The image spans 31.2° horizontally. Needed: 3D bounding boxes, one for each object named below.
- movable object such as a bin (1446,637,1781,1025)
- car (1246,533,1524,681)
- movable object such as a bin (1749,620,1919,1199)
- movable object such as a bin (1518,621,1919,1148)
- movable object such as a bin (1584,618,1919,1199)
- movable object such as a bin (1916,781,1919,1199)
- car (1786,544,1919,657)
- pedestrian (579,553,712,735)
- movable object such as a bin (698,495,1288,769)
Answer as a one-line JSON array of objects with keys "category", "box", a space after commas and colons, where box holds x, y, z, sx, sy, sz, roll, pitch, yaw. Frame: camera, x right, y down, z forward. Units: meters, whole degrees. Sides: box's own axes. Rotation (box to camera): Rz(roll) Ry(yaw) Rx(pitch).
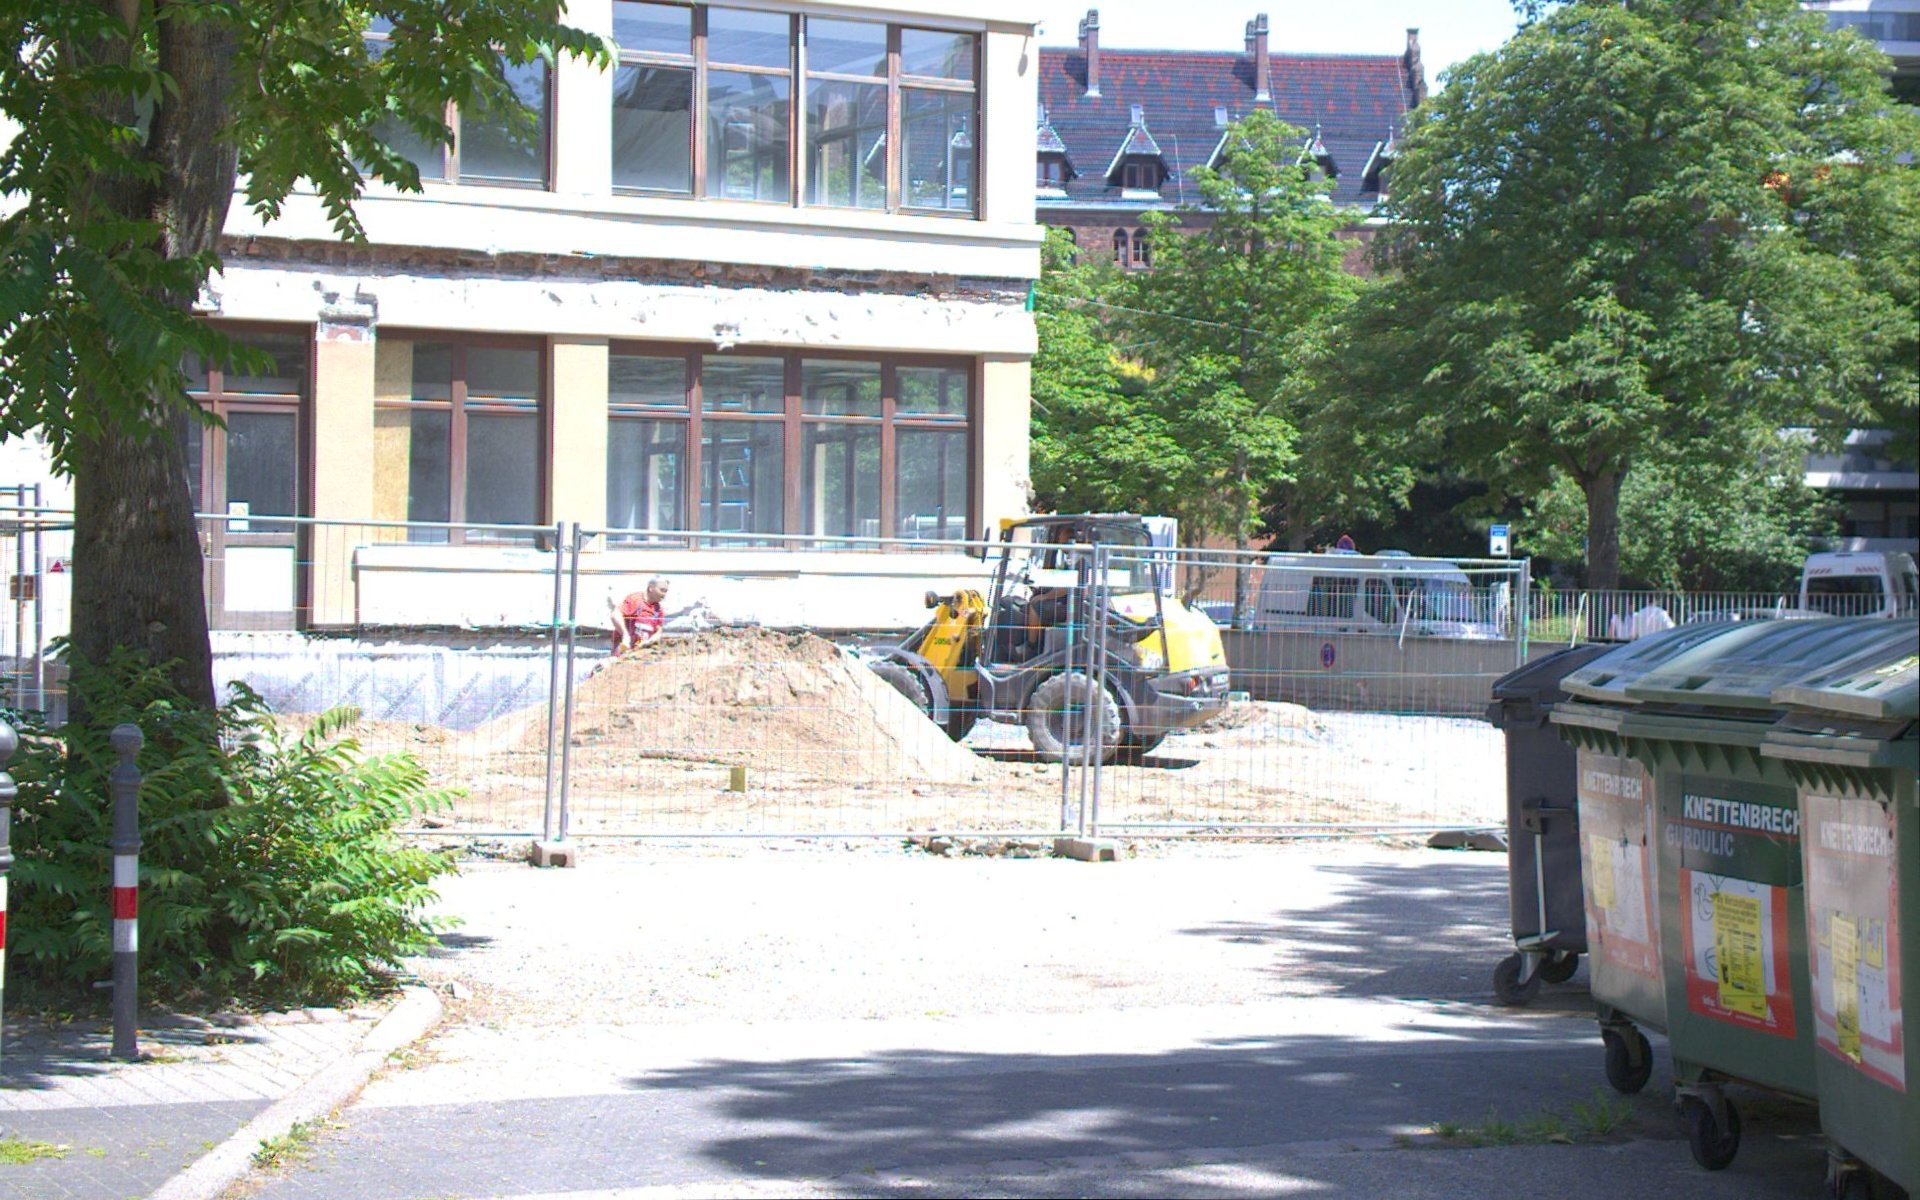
[{"category": "movable object such as a bin", "box": [2.587, 0.885, 13.788, 1.075, 1.453, 1.377, 1, 0, 1]}, {"category": "car", "box": [7.229, 0.115, 59.043, 1.993, 2.408, 5.243, 1, 0, -29]}, {"category": "movable object such as a bin", "box": [2.391, 0.777, 7.387, 1.075, 1.453, 1.377, 1, 0, 1]}, {"category": "movable object such as a bin", "box": [2.321, 0.799, 10.281, 1.075, 1.453, 1.377, 1, 0, 1]}, {"category": "movable object such as a bin", "box": [2.273, 0.780, 8.859, 1.075, 1.453, 1.377, 1, 0, 1]}, {"category": "movable object such as a bin", "box": [2.380, 0.773, 5.943, 1.075, 1.453, 1.377, 1, 0, 1]}, {"category": "car", "box": [18.517, 0.023, 71.006, 2.187, 2.250, 4.863, 1, 0, 21]}, {"category": "pedestrian", "box": [-3.242, 0.446, 35.419, 0.985, 1.840, 0.915, 0, 0, 39]}, {"category": "movable object such as a bin", "box": [0.327, 0.275, 34.906, 5.411, 2.456, 2.364, 3, 0, 26]}]
